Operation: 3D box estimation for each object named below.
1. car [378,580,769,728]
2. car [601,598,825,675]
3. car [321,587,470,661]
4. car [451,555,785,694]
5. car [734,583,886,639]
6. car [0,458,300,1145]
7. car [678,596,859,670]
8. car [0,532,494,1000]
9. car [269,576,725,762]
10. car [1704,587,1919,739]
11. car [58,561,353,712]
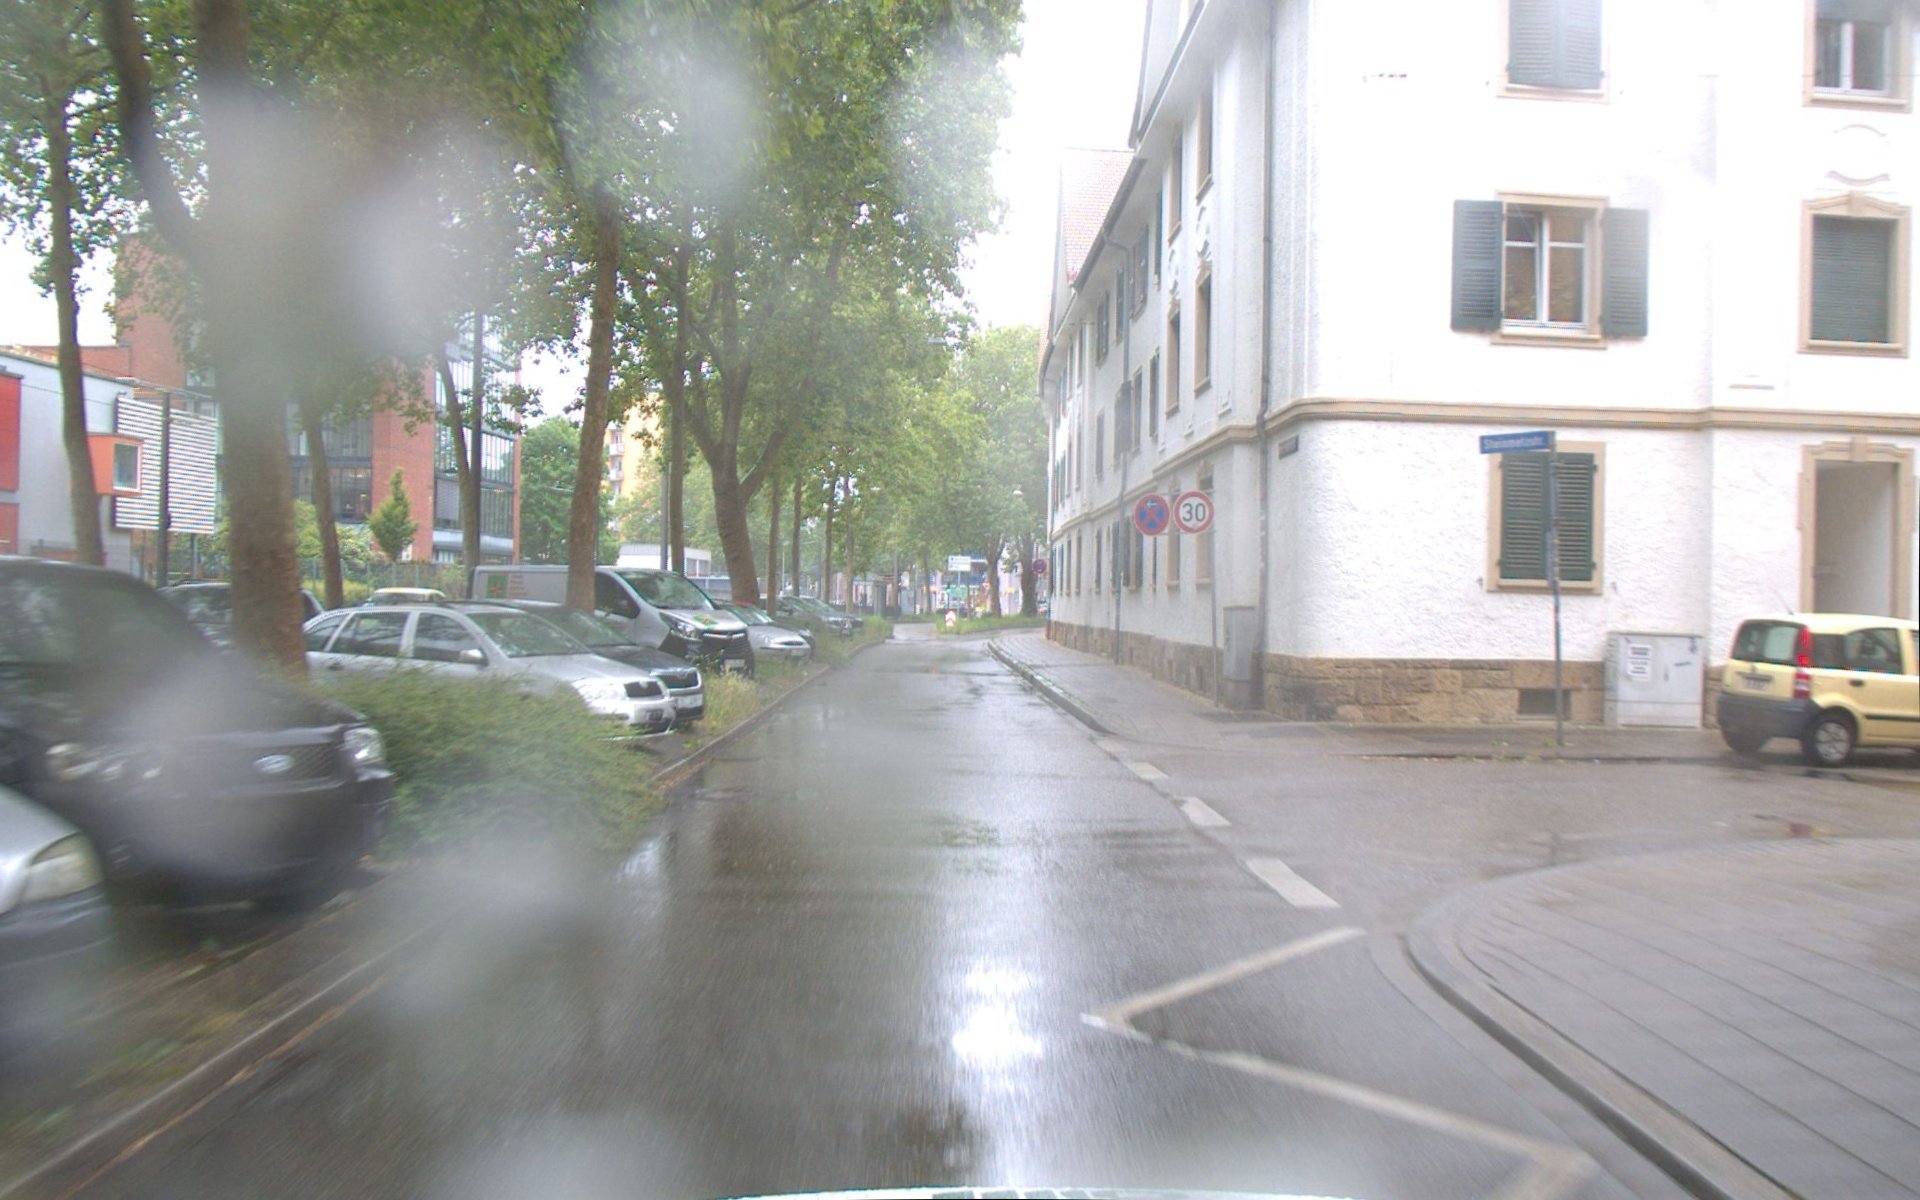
[{"bbox_3d":[-4.473,0.553,19.081,4.217,1.462,1.746,2,1,26],"label":"car"},{"bbox_3d":[-5.160,0.734,34.406,4.460,1.508,1.772,-1,0,29],"label":"car"},{"bbox_3d":[-12.434,0.521,36.701,1.953,1.534,3.999,0,0,-1],"label":"car"},{"bbox_3d":[-5.408,0.366,25.971,5.019,2.012,2.099,-1,0,30],"label":"car"},{"bbox_3d":[-4.679,0.316,51.591,4.370,1.625,1.922,1,1,25],"label":"car"},{"bbox_3d":[-4.249,0.533,5.065,4.321,1.674,1.868,-1,0,30],"label":"car"},{"bbox_3d":[-4.265,0.712,36.788,3.734,1.547,1.719,-1,0,30],"label":"car"},{"bbox_3d":[-4.519,0.581,7.813,4.318,1.689,1.928,0,0,27],"label":"car"},{"bbox_3d":[-4.428,0.579,15.840,3.974,1.525,1.747,2,1,23],"label":"car"},{"bbox_3d":[9.949,0.648,17.629,3.293,1.512,1.714,1,0,-8],"label":"car"},{"bbox_3d":[-9.374,0.421,20.973,1.954,1.669,4.137,2,0,-3],"label":"car"}]
